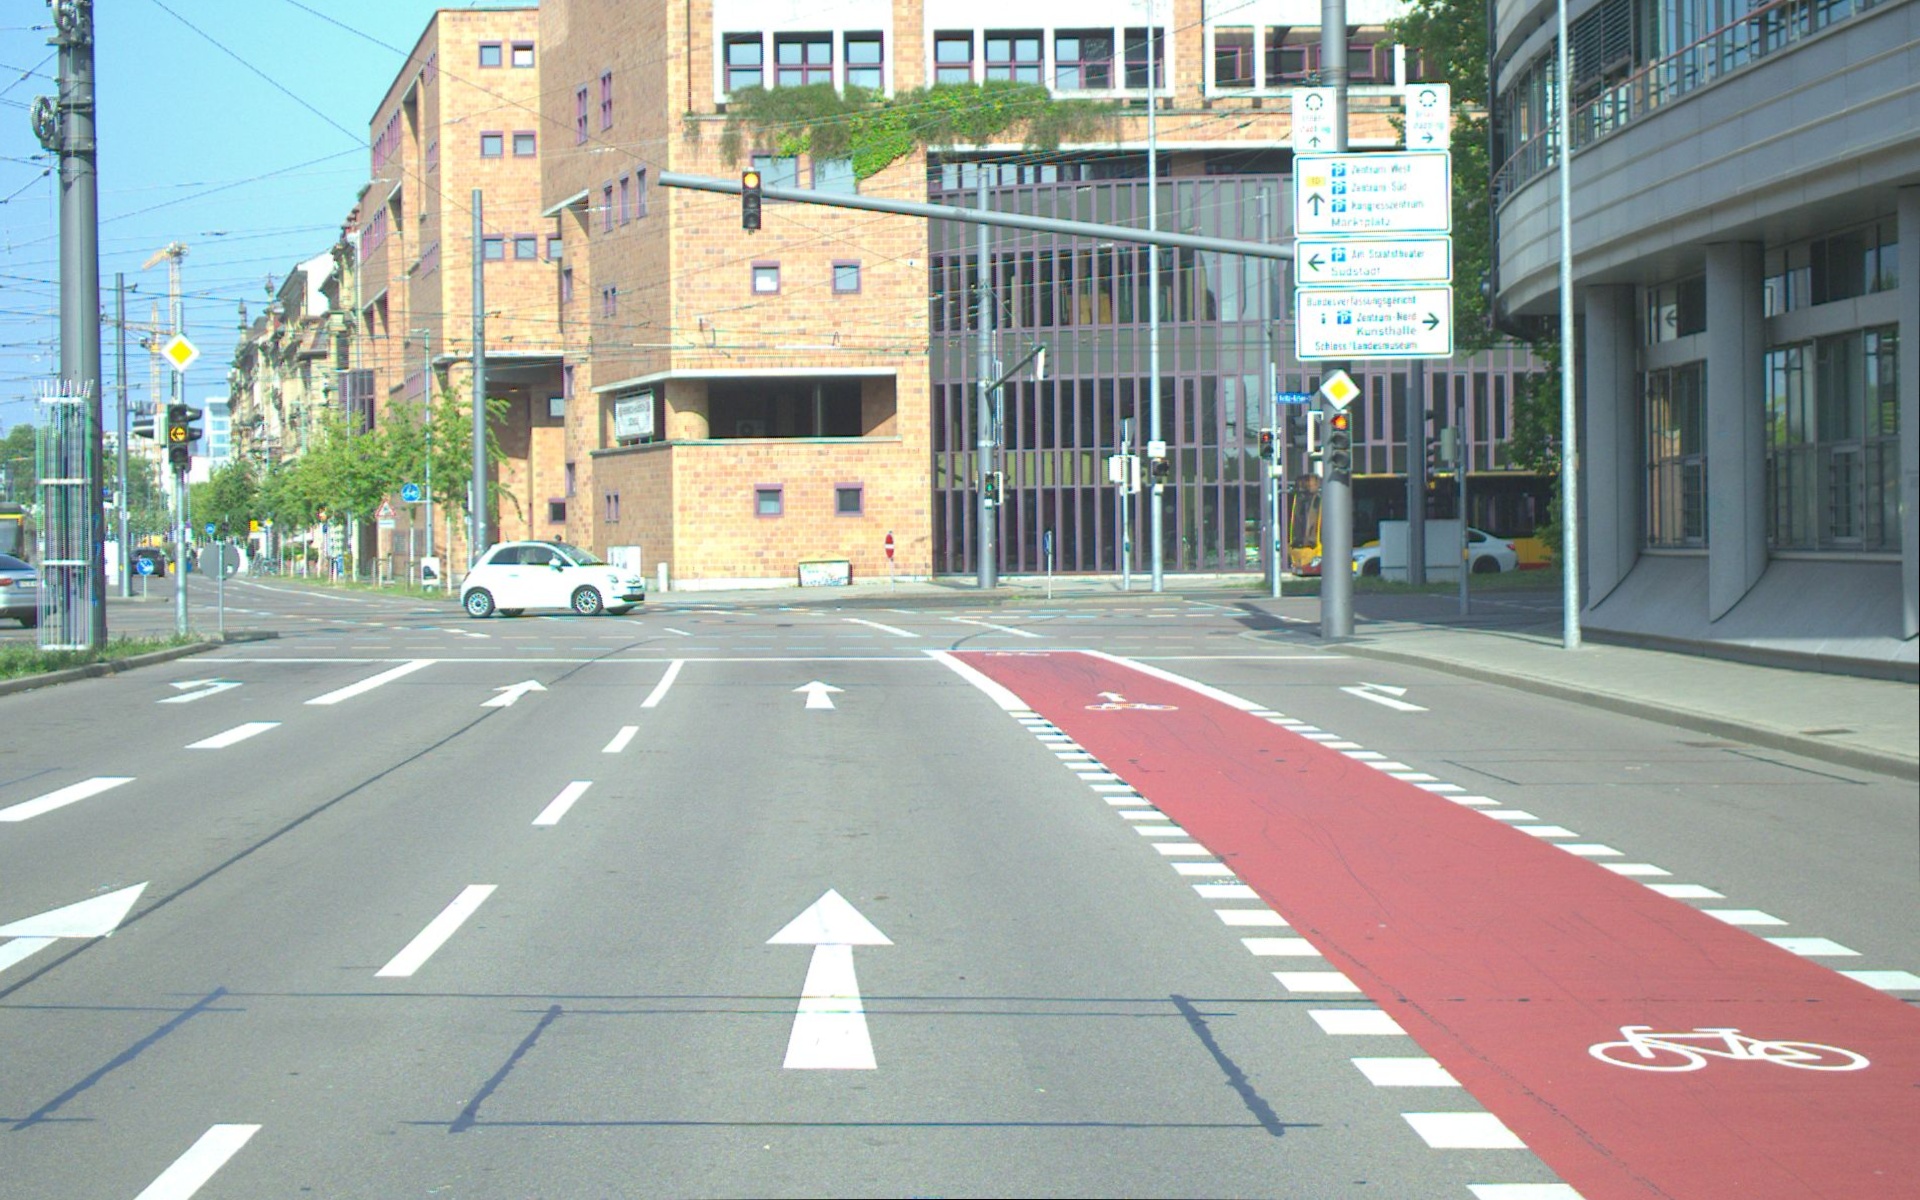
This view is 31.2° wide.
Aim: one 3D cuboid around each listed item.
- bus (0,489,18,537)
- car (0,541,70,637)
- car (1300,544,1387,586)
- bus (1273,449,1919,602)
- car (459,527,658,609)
[{"bbox_3d":[-41.349,-3.689,146.353,1.993,2.007,4.001,-1,1,-21],"label":"bus"},{"bbox_3d":[-18.735,-0.185,64.018,3.881,1.749,1.709,-1,0,20],"label":"car"},{"bbox_3d":[9.403,-0.866,84.426,1.951,0.955,1.094,1,-1,-4],"label":"car"},{"bbox_3d":[17.129,-1.971,90.240,17.605,3.797,2.866,-1,0,-11],"label":"bus"},{"bbox_3d":[-7.826,-0.609,67.083,3.439,1.536,1.734,-1,0,17],"label":"car"}]
